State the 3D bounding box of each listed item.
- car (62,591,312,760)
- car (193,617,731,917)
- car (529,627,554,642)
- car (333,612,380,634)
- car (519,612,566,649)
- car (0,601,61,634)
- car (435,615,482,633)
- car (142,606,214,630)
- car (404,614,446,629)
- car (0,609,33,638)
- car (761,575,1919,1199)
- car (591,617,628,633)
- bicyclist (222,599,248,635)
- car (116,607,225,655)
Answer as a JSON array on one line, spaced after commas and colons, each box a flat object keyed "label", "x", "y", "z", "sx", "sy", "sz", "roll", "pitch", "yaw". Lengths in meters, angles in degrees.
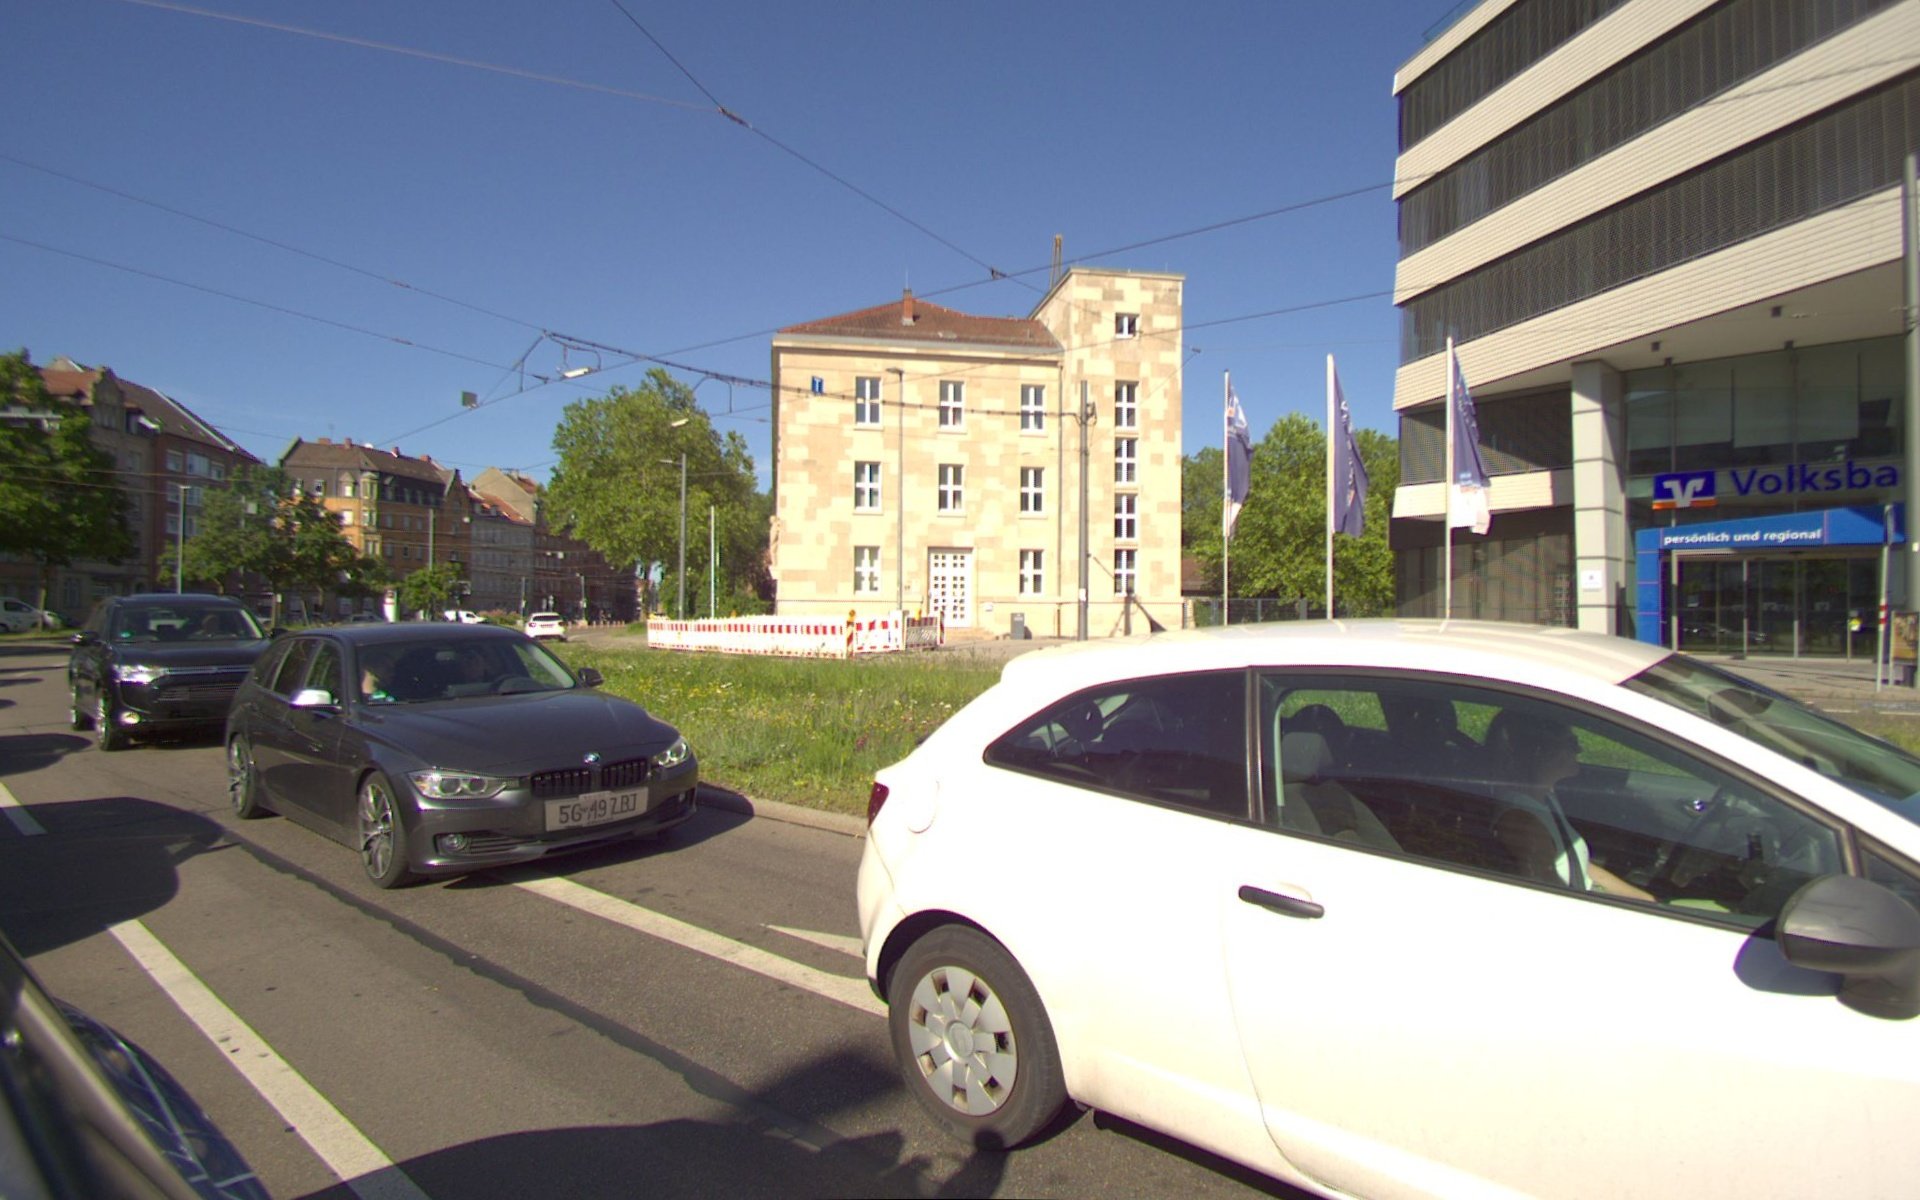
[{"label": "car", "x": -9.385, "y": 0.773, "z": 12.136, "sx": 1.817, "sy": 1.658, "sz": 4.400, "roll": -1, "pitch": -1, "yaw": -45}, {"label": "car", "x": -3.602, "y": 0.827, "z": 6.886, "sx": 4.424, "sy": 1.377, "sz": 1.719, "roll": -1, "pitch": 0, "yaw": 41}, {"label": "car", "x": -49.770, "y": 4.113, "z": 120.458, "sx": 1.811, "sy": 1.659, "sz": 4.157, "roll": 1, "pitch": -1, "yaw": -10}, {"label": "car", "x": -42.163, "y": 1.596, "z": 70.769, "sx": 1.809, "sy": 1.483, "sz": 4.728, "roll": 1, "pitch": -1, "yaw": -19}, {"label": "car", "x": -19.963, "y": 1.442, "z": 48.314, "sx": 1.794, "sy": 1.658, "sz": 4.195, "roll": 0, "pitch": -1, "yaw": -26}, {"label": "car", "x": -49.938, "y": 0.891, "z": 52.794, "sx": 4.514, "sy": 1.680, "sz": 1.601, "roll": 2, "pitch": -2, "yaw": -43}, {"label": "car", "x": -57.217, "y": 2.713, "z": 115.591, "sx": 4.513, "sy": 1.889, "sz": 2.006, "roll": -1, "pitch": 0, "yaw": -16}, {"label": "car", "x": -53.941, "y": 1.275, "z": 69.876, "sx": 3.771, "sy": 1.603, "sz": 1.601, "roll": 2, "pitch": -2, "yaw": -44}, {"label": "car", "x": -61.696, "y": 2.490, "z": 116.797, "sx": 4.001, "sy": 1.669, "sz": 1.772, "roll": 1, "pitch": -1, "yaw": -16}, {"label": "car", "x": -48.773, "y": 1.152, "z": 50.388, "sx": 3.768, "sy": 1.390, "sz": 1.602, "roll": 2, "pitch": -2, "yaw": -41}, {"label": "car", "x": 1.477, "y": 0.695, "z": 2.487, "sx": 4.020, "sy": 1.452, "sz": 1.714, "roll": 0, "pitch": 2, "yaw": 40}, {"label": "car", "x": -40.033, "y": 2.854, "z": 115.636, "sx": 4.000, "sy": 1.669, "sz": 1.772, "roll": 1, "pitch": -1, "yaw": -17}, {"label": "bicyclist", "x": -42.169, "y": 0.986, "z": 58.879, "sx": 0.835, "sy": 2.029, "sz": 1.200, "roll": 0, "pitch": -1, "yaw": -17}, {"label": "car", "x": -36.776, "y": 1.423, "z": 47.327, "sx": 1.952, "sy": 2.101, "sz": 4.722, "roll": 1, "pitch": -1, "yaw": -9}]
